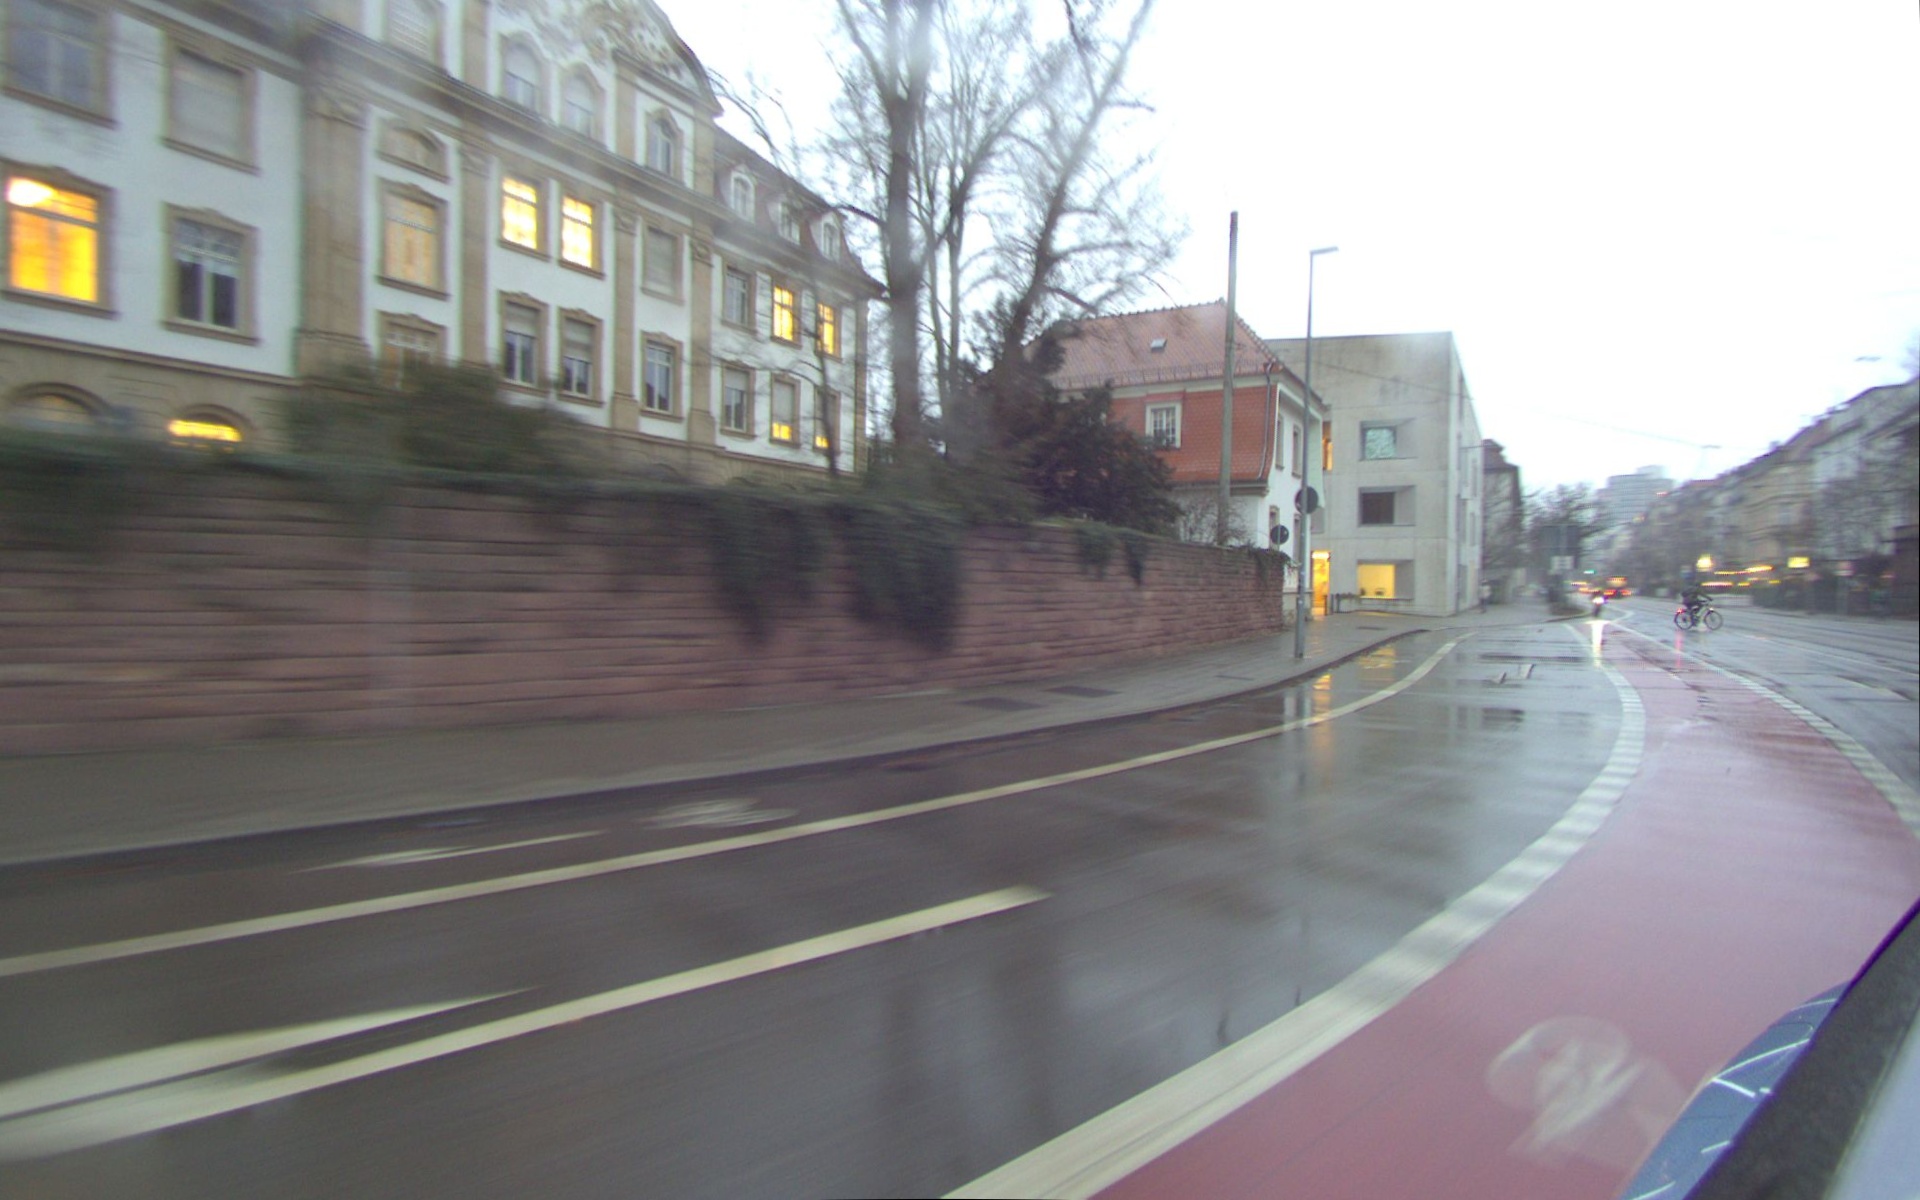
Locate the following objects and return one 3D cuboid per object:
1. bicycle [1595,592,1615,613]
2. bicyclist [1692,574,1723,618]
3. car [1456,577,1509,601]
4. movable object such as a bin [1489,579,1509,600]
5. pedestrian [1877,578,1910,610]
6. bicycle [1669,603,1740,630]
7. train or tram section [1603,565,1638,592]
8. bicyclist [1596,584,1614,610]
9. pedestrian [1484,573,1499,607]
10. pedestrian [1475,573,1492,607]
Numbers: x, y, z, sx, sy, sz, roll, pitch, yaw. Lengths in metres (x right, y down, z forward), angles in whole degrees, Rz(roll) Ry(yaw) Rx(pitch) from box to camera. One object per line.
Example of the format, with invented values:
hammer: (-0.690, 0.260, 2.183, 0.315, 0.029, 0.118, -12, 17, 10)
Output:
bicycle: (34.223, 0.129, 53.686, 0.720, 1.104, 2.254, 0, -1, 37)
bicyclist: (28.108, -0.168, 38.063, 0.851, 1.615, 0.771, 2, 2, 35)
car: (39.238, -0.813, 76.043, 3.432, 1.668, 1.713, -1, 0, 31)
movable object such as a bin: (40.132, -0.791, 75.345, 1.250, 1.463, 1.404, 1, 1, 31)
pedestrian: (52.120, -0.326, 56.525, 0.908, 1.724, 0.946, -2, 0, 8)
bicycle: (28.059, 0.634, 38.203, 2.108, 0.956, 0.933, -1, 0, 35)
train or tram section: (101.669, -3.313, 156.196, 2.863, 3.783, 27.047, -2, 0, 30)
bicyclist: (34.318, -0.176, 53.824, 0.713, 1.360, 0.710, -2, 0, 38)
pedestrian: (30.027, -0.568, 57.137, 0.653, 1.882, 0.652, 2, 2, 32)
pedestrian: (29.699, -0.556, 57.381, 0.768, 1.881, 0.710, 2, 2, 33)
